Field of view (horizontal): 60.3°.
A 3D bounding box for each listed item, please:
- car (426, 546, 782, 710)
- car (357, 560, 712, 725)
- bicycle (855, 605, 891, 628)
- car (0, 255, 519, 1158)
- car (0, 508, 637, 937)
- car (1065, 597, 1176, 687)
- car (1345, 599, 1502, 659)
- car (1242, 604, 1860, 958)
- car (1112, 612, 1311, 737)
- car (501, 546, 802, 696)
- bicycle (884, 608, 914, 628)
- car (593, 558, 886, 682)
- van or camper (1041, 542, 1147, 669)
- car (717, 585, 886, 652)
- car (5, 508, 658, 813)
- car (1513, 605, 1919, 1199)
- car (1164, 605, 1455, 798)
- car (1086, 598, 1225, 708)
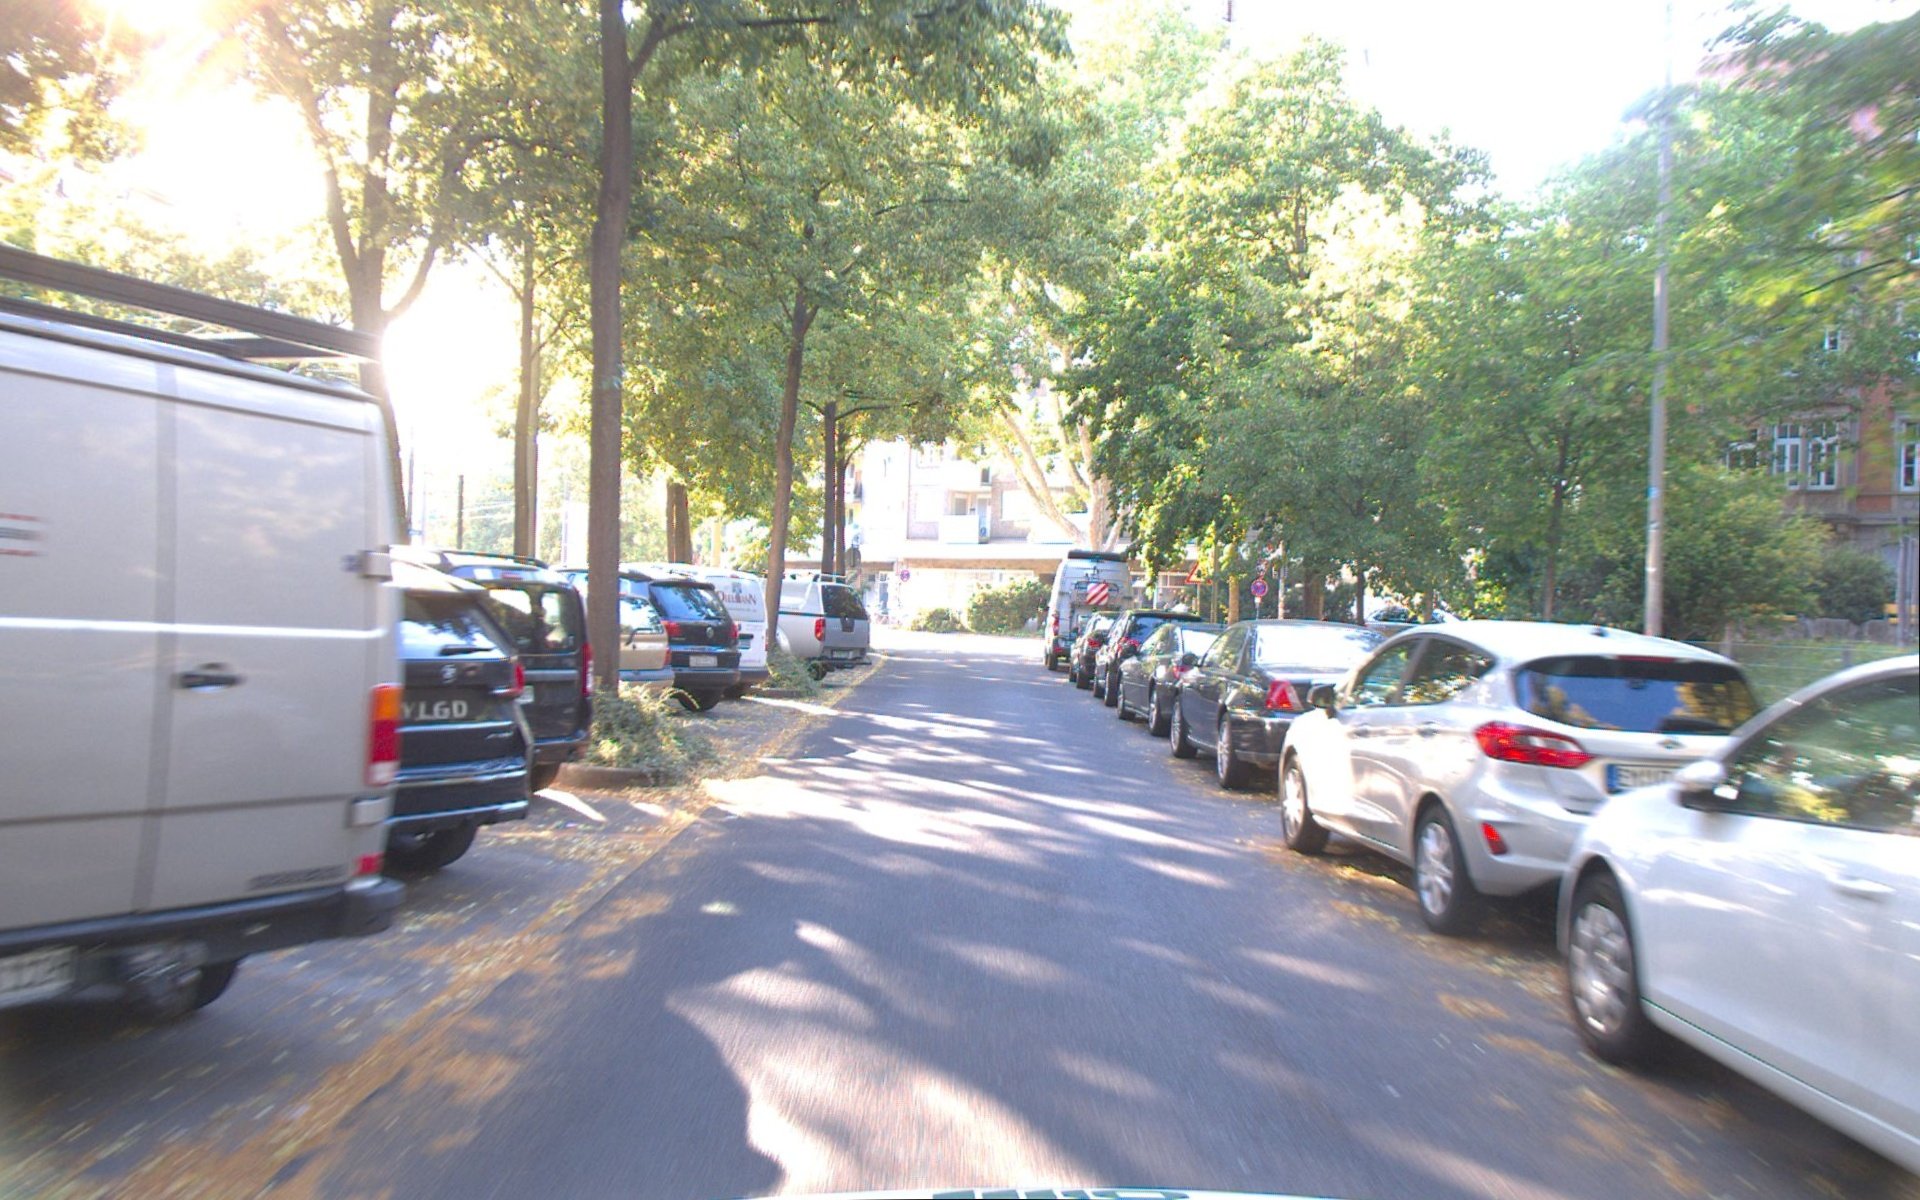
[{"bbox_3d":[-4.488,0.324,20.718,4.072,1.672,1.910,4,0,31],"label":"car"},{"bbox_3d":[-4.631,0.436,17.979,3.354,1.450,1.830,4,0,30],"label":"car"},{"bbox_3d":[-4.180,0.776,79.382,0.634,1.040,2.060,1,0,-37],"label":"bicycle"},{"bbox_3d":[-4.374,0.109,5.814,5.394,2.174,2.078,5,0,29],"label":"car"},{"bbox_3d":[-4.123,0.425,8.514,4.415,1.644,1.934,5,0,23],"label":"car"},{"bbox_3d":[3.013,0.751,31.806,1.646,1.552,4.489,2,0,0],"label":"car"},{"bbox_3d":[13.856,0.860,49.578,1.729,1.579,4.206,6,-4,-45],"label":"car"},{"bbox_3d":[2.936,0.802,9.225,1.648,1.479,4.071,2,0,-5],"label":"car"},{"bbox_3d":[2.999,0.848,20.556,1.646,1.305,4.285,2,0,-2],"label":"car"},{"bbox_3d":[-4.499,0.286,23.929,4.078,1.812,1.877,4,0,35],"label":"car"},{"bbox_3d":[-2.879,0.843,77.536,0.538,0.920,1.715,1,0,-35],"label":"bicycle"},{"bbox_3d":[-4.010,0.341,29.948,4.891,1.812,1.985,5,0,27],"label":"car"},{"bbox_3d":[3.183,0.129,40.497,2.041,2.810,5.845,2,0,0],"label":"van or camper"},{"bbox_3d":[-4.289,0.506,44.702,4.104,1.463,1.831,5,0,24],"label":"car"},{"bbox_3d":[-4.537,0.338,11.818,4.421,1.644,1.851,5,0,29],"label":"car"},{"bbox_3d":[3.020,0.791,4.349,1.646,1.479,4.075,2,0,-2],"label":"car"},{"bbox_3d":[3.037,0.807,15.345,1.646,1.449,4.658,2,0,-1],"label":"car"},{"bbox_3d":[2.991,0.766,26.126,1.646,1.552,4.287,2,0,0],"label":"car"}]
